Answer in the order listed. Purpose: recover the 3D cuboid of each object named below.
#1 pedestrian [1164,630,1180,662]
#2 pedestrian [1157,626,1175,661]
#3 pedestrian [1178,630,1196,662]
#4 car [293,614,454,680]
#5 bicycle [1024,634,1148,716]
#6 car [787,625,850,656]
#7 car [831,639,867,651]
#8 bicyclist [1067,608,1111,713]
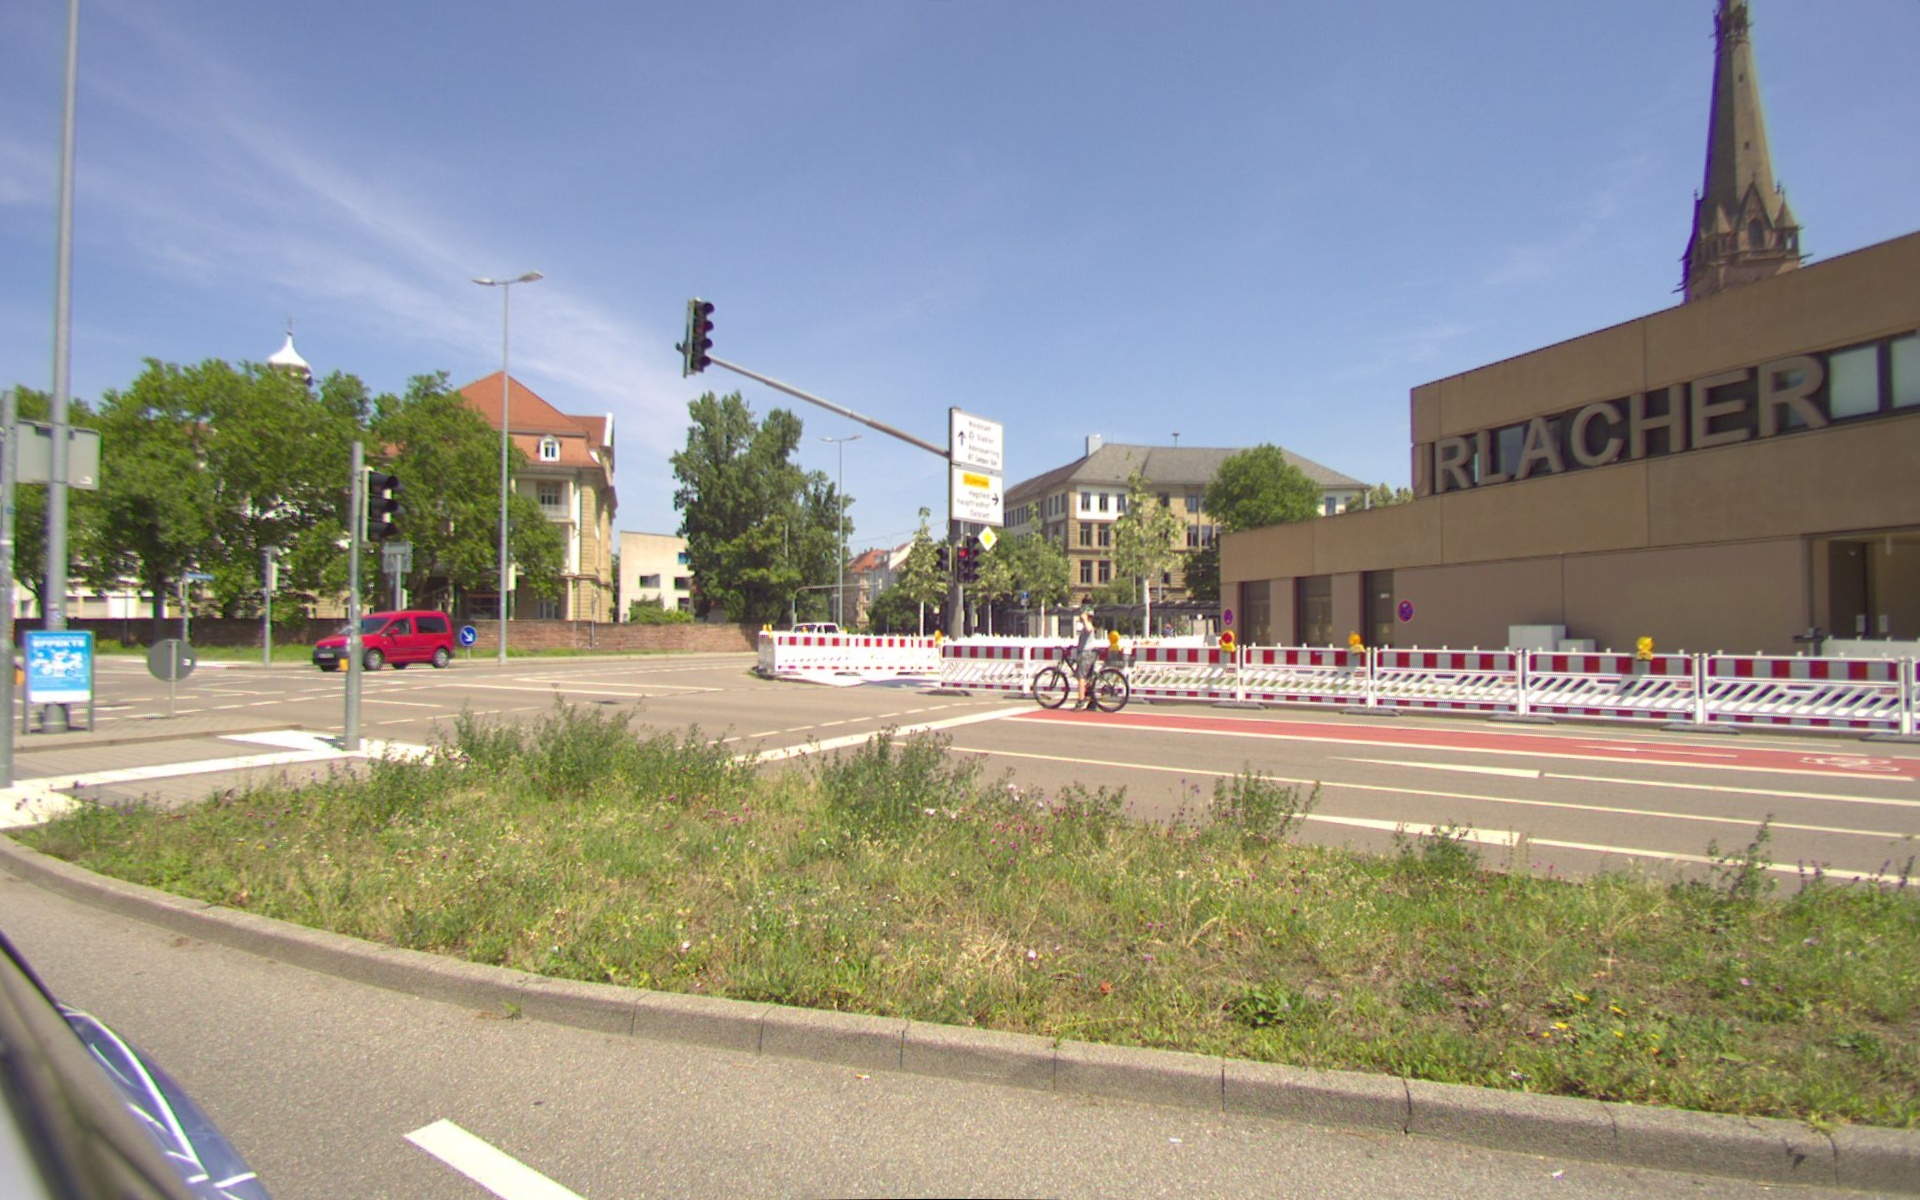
[{"bbox_3d":[12.156,2.650,57.972,0.531,1.769,0.661,-1,-3,-28],"label":"pedestrian"},{"bbox_3d":[11.481,2.417,56.510,0.681,1.920,0.578,-1,-3,-19],"label":"pedestrian"},{"bbox_3d":[12.784,2.588,56.964,0.634,1.802,0.640,-1,-3,-19],"label":"pedestrian"},{"bbox_3d":[-17.582,1.403,30.577,1.815,1.780,4.261,-3,-3,13],"label":"car"},{"bbox_3d":[1.941,1.140,15.772,1.894,1.189,0.518,-1,-2,35],"label":"bicycle"},{"bbox_3d":[-8.616,2.480,61.942,1.916,1.808,5.003,-1,-2,17],"label":"car"},{"bbox_3d":[-14.446,5.810,131.974,4.381,1.439,1.814,1,-2,12],"label":"car"},{"bbox_3d":[2.007,0.932,15.734,0.497,1.591,0.525,-1,-2,34],"label":"bicyclist"}]
